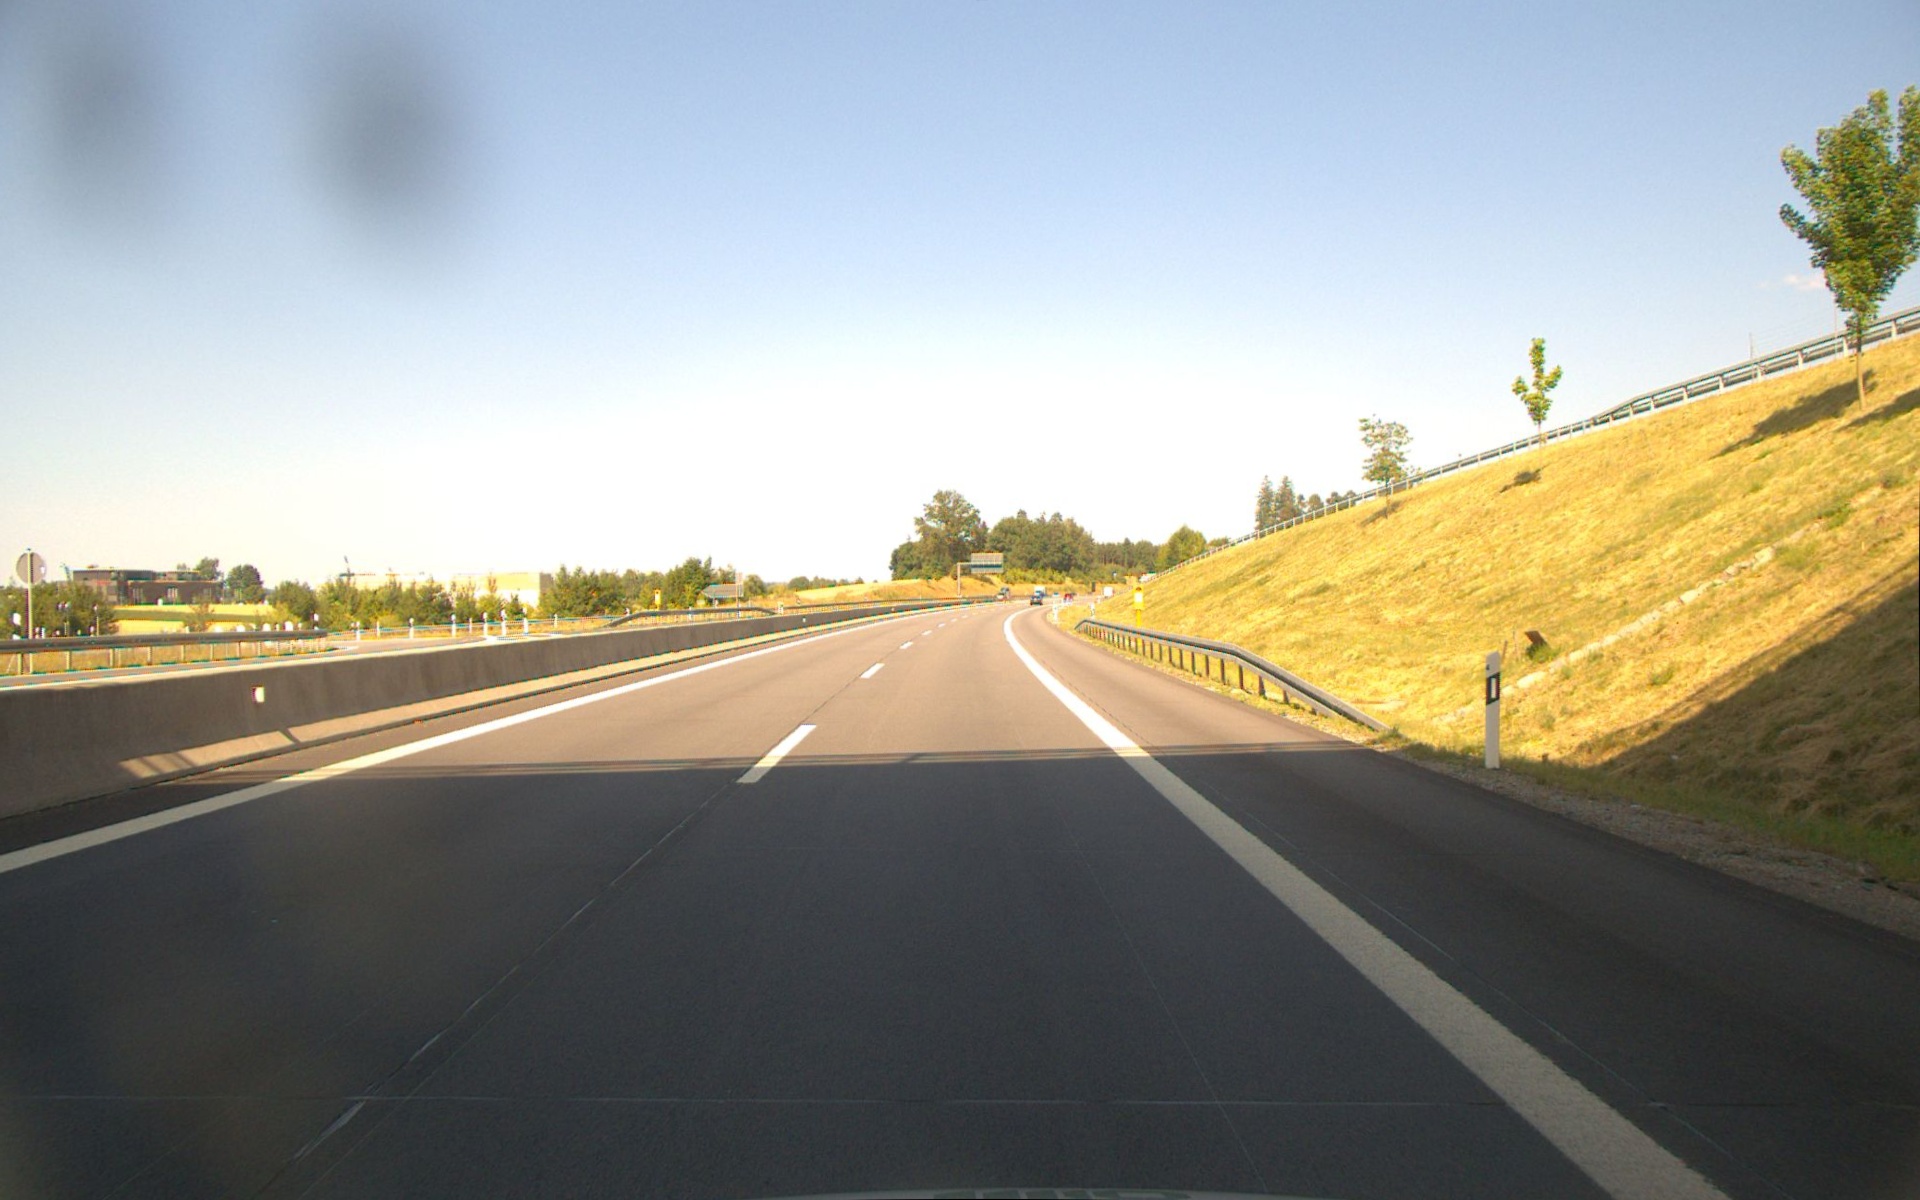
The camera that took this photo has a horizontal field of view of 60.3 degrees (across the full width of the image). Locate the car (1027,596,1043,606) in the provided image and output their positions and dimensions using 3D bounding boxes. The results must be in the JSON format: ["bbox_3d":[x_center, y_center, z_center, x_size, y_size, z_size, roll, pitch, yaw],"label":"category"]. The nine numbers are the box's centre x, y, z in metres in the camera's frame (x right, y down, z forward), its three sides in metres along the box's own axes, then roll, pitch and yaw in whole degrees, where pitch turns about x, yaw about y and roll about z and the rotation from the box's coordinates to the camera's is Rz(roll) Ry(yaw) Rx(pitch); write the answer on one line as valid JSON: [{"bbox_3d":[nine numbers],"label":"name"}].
[{"bbox_3d":[11.227,0.139,247.460,1.951,1.445,4.003,-2,0,7],"label":"car"}]
